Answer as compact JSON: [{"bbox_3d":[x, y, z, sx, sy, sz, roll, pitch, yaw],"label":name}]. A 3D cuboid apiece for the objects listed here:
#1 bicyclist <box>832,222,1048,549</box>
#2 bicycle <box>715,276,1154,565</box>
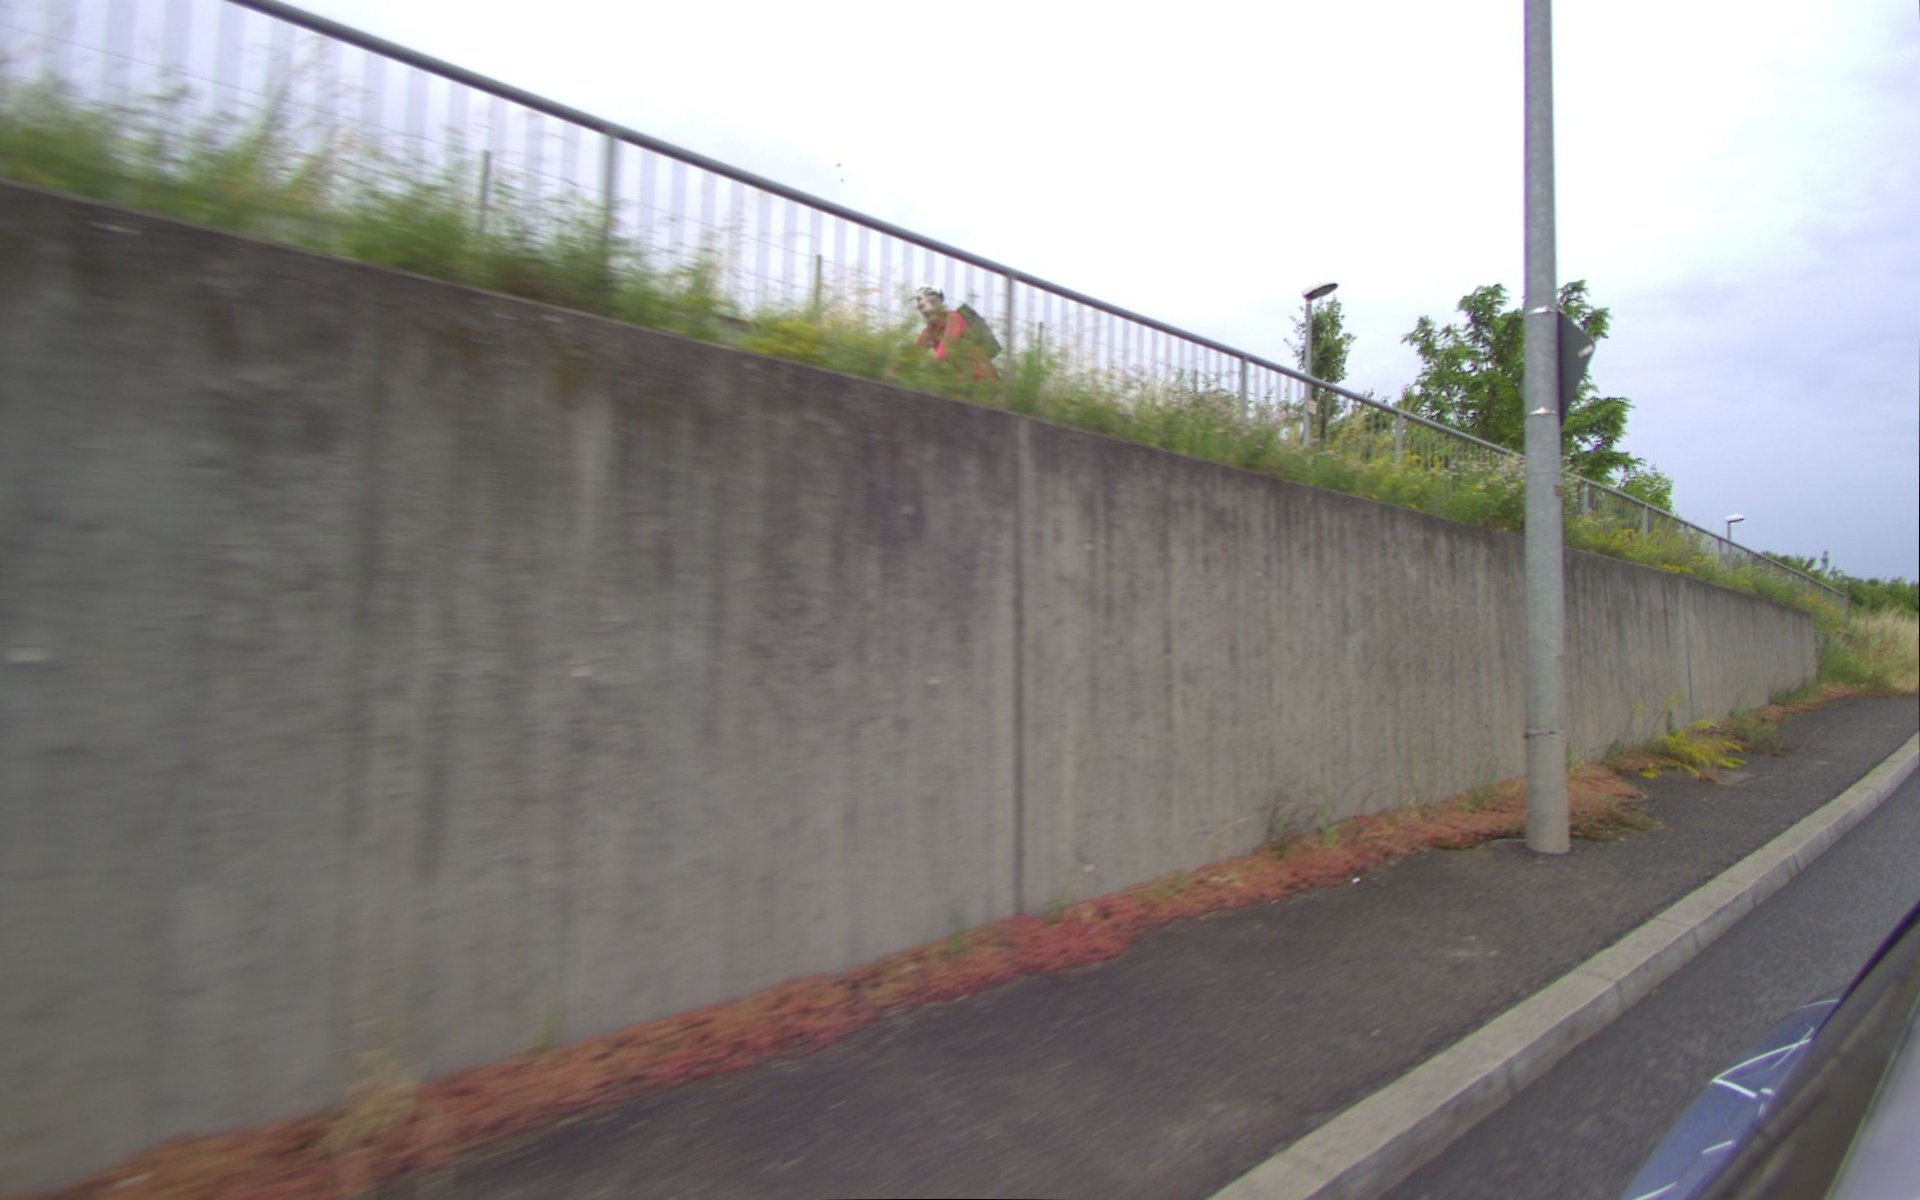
[{"bbox_3d":[-0.125,-1.418,7.204,1.271,1.934,0.869,5,-7,-42],"label":"bicyclist"},{"bbox_3d":[0.006,-1.089,7.287,3.426,1.305,0.869,5,-7,-43],"label":"bicycle"}]
